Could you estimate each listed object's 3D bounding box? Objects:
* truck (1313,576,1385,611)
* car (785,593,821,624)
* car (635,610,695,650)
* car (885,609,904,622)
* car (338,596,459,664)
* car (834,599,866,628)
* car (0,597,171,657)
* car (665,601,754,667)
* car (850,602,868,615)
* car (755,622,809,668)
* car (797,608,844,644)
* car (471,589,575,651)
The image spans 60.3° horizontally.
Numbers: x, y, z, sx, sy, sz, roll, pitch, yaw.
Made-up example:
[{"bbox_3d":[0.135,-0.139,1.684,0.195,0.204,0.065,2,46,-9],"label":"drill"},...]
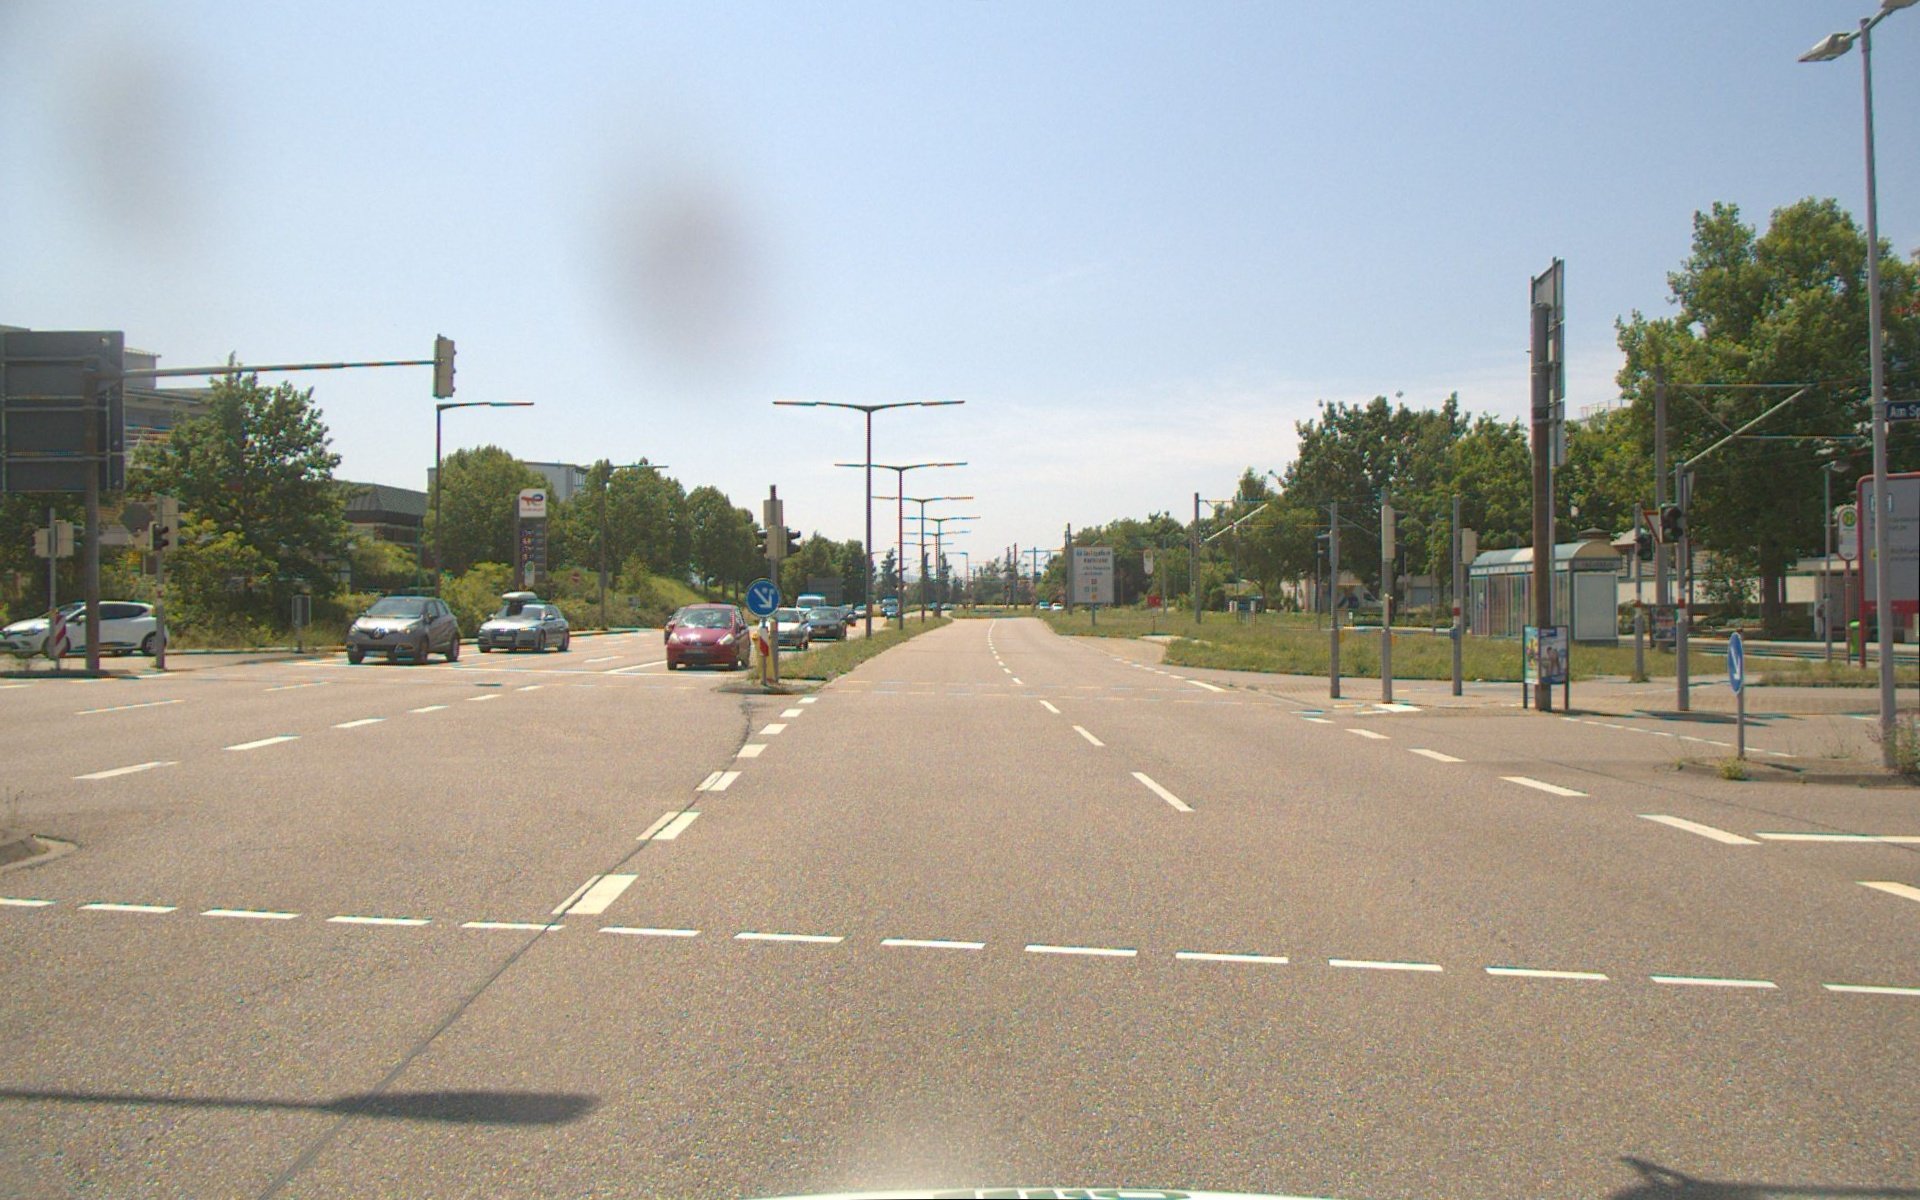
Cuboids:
[{"bbox_3d":[34.611,-0.594,147.216,5.730,2.893,2.316,-2,-1,-8],"label":"truck"},{"bbox_3d":[-12.368,0.665,130.718,2.203,2.313,5.449,1,0,1],"label":"car"},{"bbox_3d":[-10.865,1.076,61.086,1.564,1.409,4.002,1,0,-2],"label":"car"},{"bbox_3d":[-7.552,1.803,190.857,1.694,1.483,4.566,0,0,3],"label":"car"},{"bbox_3d":[-13.458,0.692,39.864,1.625,1.566,3.999,0,0,-2],"label":"car"},{"bbox_3d":[-8.168,1.035,123.377,1.952,2.049,4.000,1,-1,1],"label":"car"},{"bbox_3d":[-22.758,0.700,42.885,1.790,1.475,3.816,-1,-1,33],"label":"car"},{"bbox_3d":[-6.003,0.783,39.996,1.625,1.516,3.999,0,0,-2],"label":"car"},{"bbox_3d":[-11.075,0.917,181.391,1.793,1.474,4.850,0,0,-1],"label":"car"},{"bbox_3d":[-6.106,1.535,57.103,1.529,1.448,3.853,0,0,-2],"label":"car"},{"bbox_3d":[-5.807,1.069,69.119,1.642,1.459,4.190,0,0,-1],"label":"car"},{"bbox_3d":[-13.211,0.584,50.283,1.925,1.780,5.020,0,0,-2],"label":"car"}]
